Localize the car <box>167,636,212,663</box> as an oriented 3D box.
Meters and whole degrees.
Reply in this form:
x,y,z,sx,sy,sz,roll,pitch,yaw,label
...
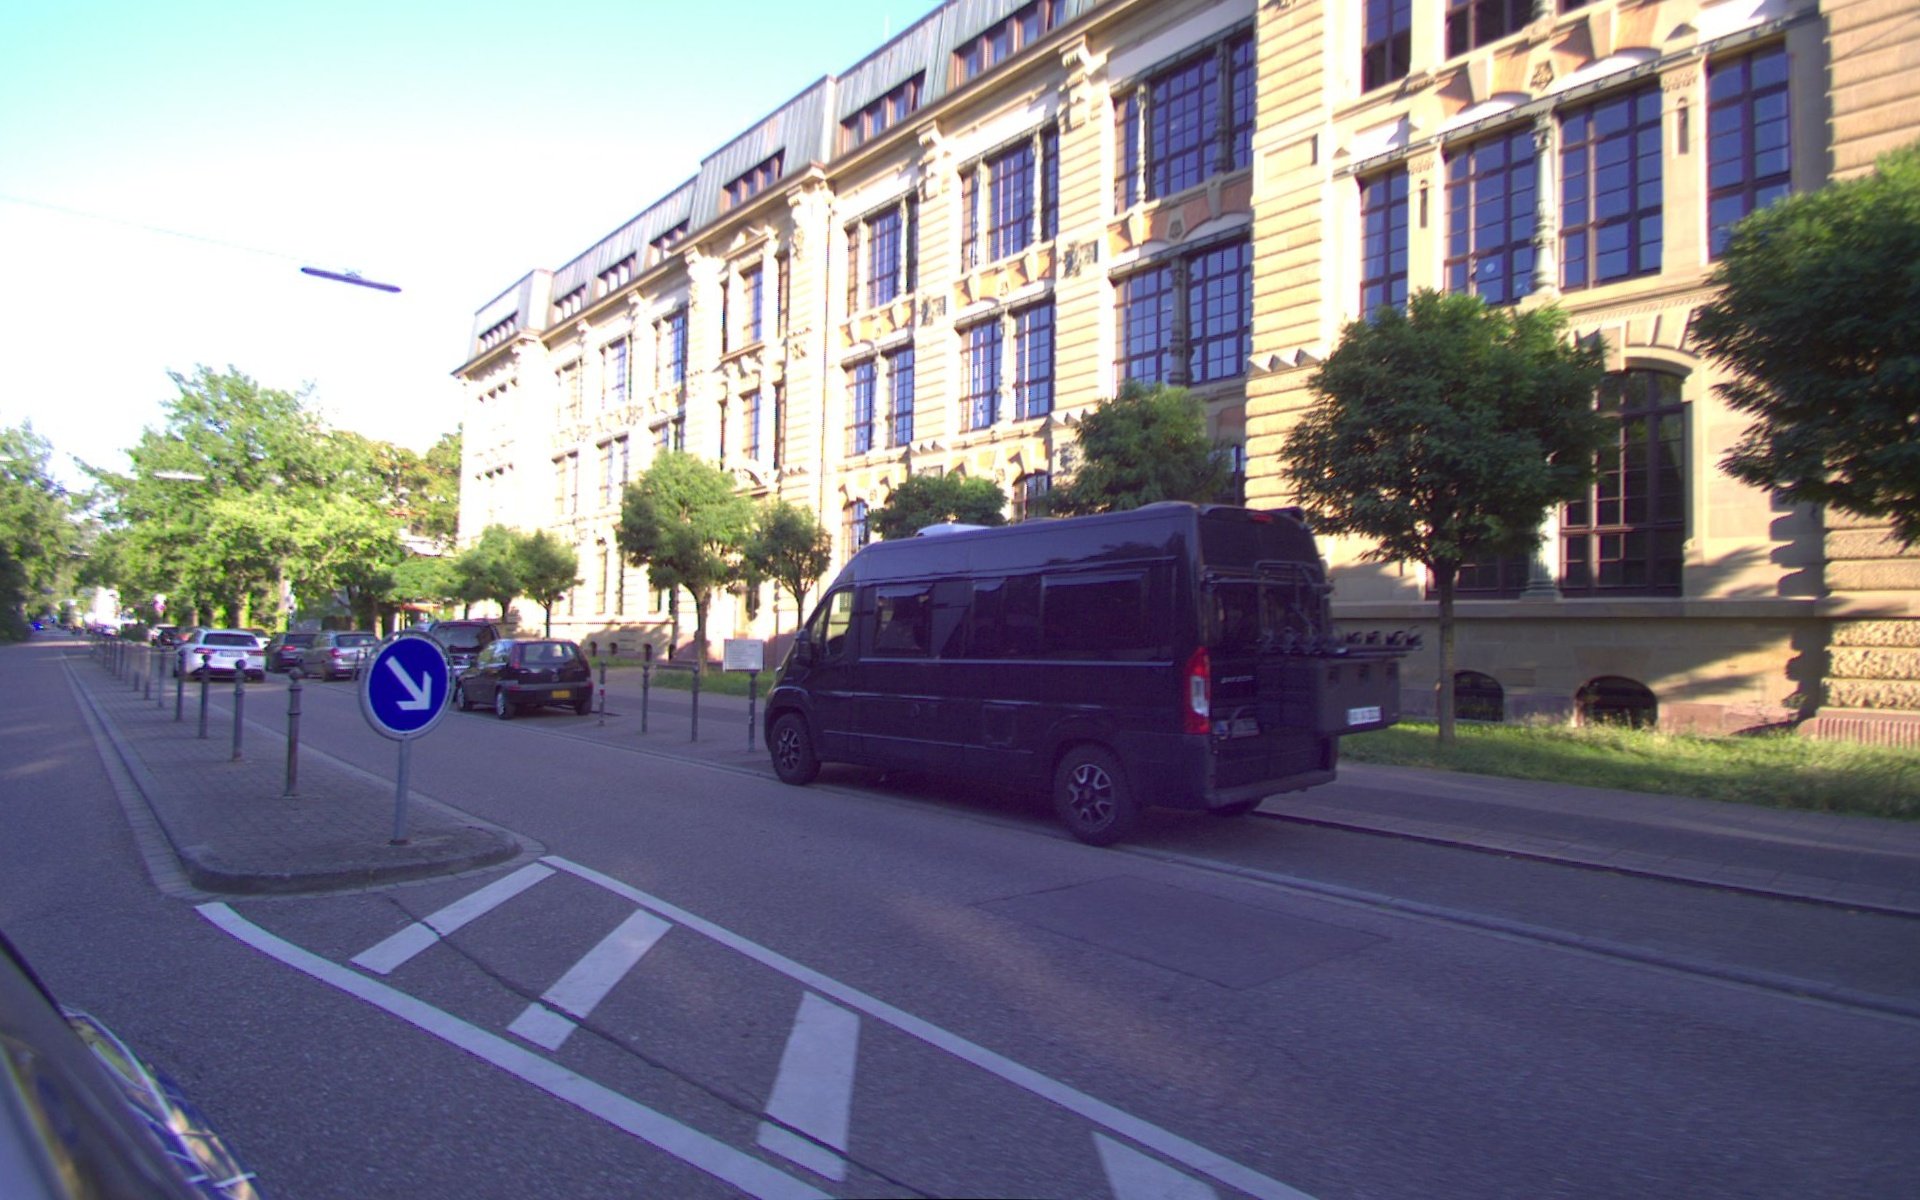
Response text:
x,y,z,sx,sy,sz,roll,pitch,yaw,label
-46.572,2.976,61.151,1.780,1.522,4.869,3,-3,-41,car

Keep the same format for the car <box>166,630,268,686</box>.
x,y,z,sx,sy,sz,roll,pitch,yaw,label
-21.196,1.617,28.801,1.720,1.469,4.628,5,-4,-43,car

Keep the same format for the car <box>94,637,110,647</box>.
x,y,z,sx,sy,sz,roll,pitch,yaw,label
-131.197,6.392,154.718,1.750,1.580,4.113,2,-3,-42,car

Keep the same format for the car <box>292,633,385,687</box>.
x,y,z,sx,sy,sz,roll,pitch,yaw,label
-19.354,1.804,31.423,1.698,1.507,4.382,0,-1,-42,car

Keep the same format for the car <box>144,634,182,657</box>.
x,y,z,sx,sy,sz,roll,pitch,yaw,label
-59.257,3.343,75.217,1.781,1.628,4.151,4,-4,-43,car

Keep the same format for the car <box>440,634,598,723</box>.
x,y,z,sx,sy,sz,roll,pitch,yaw,label
-8.427,1.400,19.170,1.675,1.481,3.860,1,-2,-41,car

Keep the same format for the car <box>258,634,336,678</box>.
x,y,z,sx,sy,sz,roll,pitch,yaw,label
-23.916,1.980,36.439,1.598,1.507,4.382,3,-4,-43,car

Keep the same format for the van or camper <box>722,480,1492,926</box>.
x,y,z,sx,sy,sz,roll,pitch,yaw,label
0.634,0.684,9.181,2.203,2.564,7.086,2,-3,-43,van or camper

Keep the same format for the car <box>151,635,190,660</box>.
x,y,z,sx,sy,sz,roll,pitch,yaw,label
-53.921,3.241,69.107,1.758,1.628,4.151,3,-3,-43,car

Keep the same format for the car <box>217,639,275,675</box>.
x,y,z,sx,sy,sz,roll,pitch,yaw,label
-32.333,2.552,45.764,1.598,1.507,3.928,3,-4,-43,car

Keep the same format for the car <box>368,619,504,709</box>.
x,y,z,sx,sy,sz,roll,pitch,yaw,label
-12.196,1.420,23.423,1.756,1.880,4.337,1,-2,-42,car
